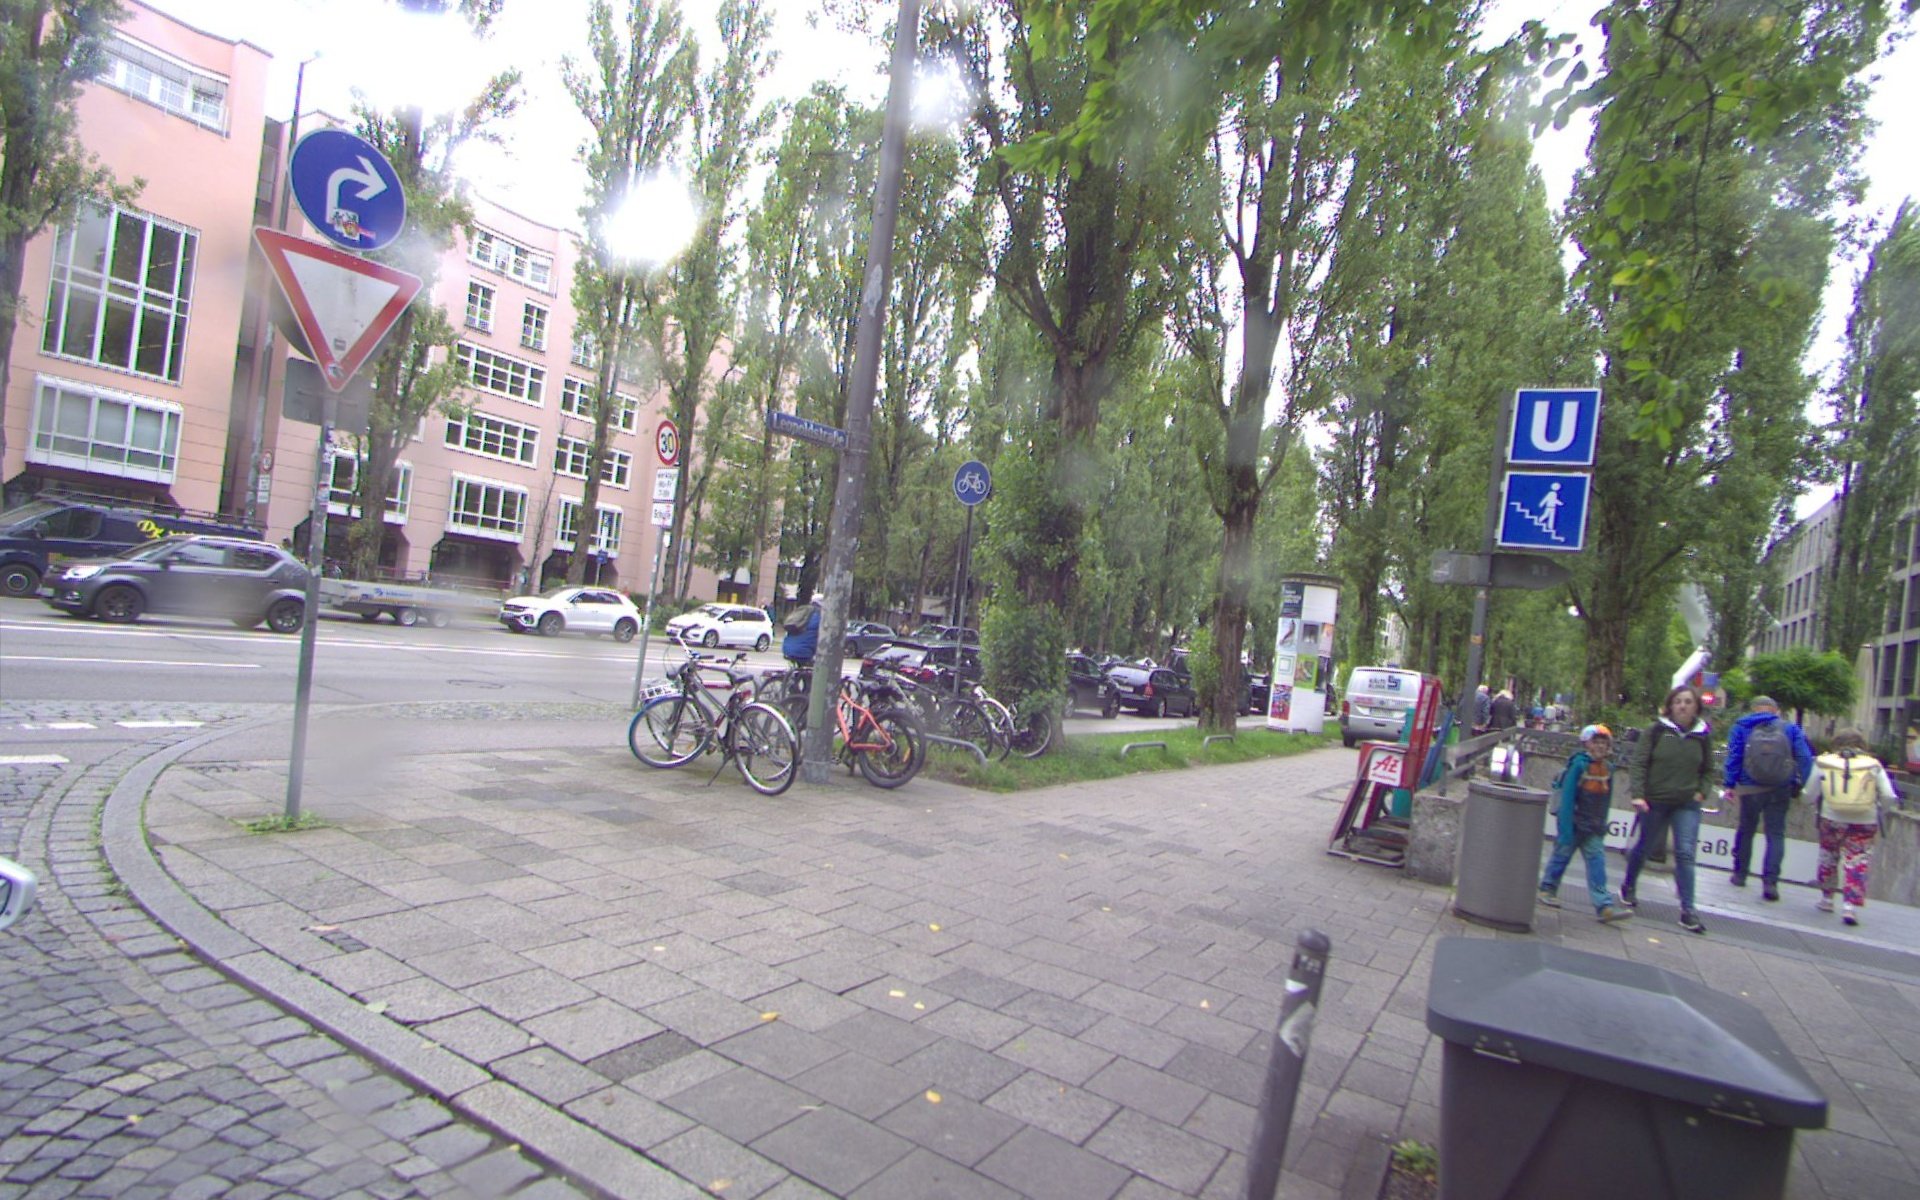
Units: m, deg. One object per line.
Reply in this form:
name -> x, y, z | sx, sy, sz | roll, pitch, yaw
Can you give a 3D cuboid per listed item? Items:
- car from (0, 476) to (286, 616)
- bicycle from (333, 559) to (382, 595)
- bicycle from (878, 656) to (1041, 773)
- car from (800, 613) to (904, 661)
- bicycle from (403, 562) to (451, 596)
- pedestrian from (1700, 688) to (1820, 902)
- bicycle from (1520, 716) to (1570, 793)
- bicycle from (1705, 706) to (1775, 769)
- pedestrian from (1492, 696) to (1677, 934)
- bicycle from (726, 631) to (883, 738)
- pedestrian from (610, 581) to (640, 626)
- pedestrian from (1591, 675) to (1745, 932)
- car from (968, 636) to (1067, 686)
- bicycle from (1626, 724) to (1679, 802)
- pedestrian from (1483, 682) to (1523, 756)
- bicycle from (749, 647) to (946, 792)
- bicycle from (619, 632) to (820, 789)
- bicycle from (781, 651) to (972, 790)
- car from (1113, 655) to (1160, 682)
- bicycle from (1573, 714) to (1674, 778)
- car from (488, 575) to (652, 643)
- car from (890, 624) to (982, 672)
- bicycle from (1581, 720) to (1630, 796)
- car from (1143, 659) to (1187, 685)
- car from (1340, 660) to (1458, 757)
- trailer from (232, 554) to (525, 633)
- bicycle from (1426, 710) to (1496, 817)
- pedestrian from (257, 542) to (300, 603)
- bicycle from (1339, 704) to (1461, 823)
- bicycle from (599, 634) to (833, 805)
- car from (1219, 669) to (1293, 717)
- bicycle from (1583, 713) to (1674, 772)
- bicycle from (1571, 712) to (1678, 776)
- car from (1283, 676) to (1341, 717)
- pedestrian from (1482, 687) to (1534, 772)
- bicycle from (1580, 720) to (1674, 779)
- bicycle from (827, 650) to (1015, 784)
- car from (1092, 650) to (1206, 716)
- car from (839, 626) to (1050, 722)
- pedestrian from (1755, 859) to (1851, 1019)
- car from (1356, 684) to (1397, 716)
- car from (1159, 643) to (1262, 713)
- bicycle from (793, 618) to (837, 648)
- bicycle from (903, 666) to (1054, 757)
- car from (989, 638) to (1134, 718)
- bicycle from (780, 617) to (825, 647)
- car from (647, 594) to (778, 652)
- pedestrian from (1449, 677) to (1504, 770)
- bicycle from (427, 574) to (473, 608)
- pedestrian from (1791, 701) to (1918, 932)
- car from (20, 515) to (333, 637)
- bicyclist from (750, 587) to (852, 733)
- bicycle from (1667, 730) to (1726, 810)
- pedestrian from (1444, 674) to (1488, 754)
car -> -17.566, -1.083, 20.833 | 1.990, 2.223, 5.488 | 7, -2, 32
bicycle -> -22.675, -0.856, 37.834 | 1.956, 1.138, 0.675 | 6, -1, 33
bicycle -> -0.034, 1.264, 11.353 | 1.806, 1.050, 0.512 | 5, -1, 37
car -> -4.484, 1.585, 42.267 | 1.967, 1.560, 4.317 | 6, -2, 33
bicycle -> -21.253, -0.835, 40.095 | 2.072, 1.138, 0.675 | 6, -1, 33
pedestrian -> 7.145, 1.700, 8.978 | 0.655, 1.716, 0.802 | 7, -1, 41
bicycle -> 10.143, 2.633, 17.415 | 0.578, 1.173, 1.981 | 7, -2, 33
bicycle -> 17.697, 3.154, 22.875 | 0.577, 1.168, 1.880 | 7, -11, 17
pedestrian -> 4.394, 1.463, 7.081 | 0.766, 1.436, 0.808 | 7, 0, -43
bicycle -> -1.839, 1.057, 12.211 | 0.708, 1.160, 1.897 | 3, -5, 33
pedestrian -> -13.767, 0.161, 41.327 | 0.698, 1.734, 0.730 | 7, -1, 33
pedestrian -> 5.260, 1.474, 7.476 | 0.686, 1.721, 0.656 | 7, 0, -43
car -> 2.498, 2.604, 42.118 | 1.967, 1.769, 5.057 | 4, -3, 30
bicycle -> 11.956, 2.787, 17.407 | 0.578, 1.173, 1.866 | 7, -2, 33
pedestrian -> 14.817, 3.238, 27.447 | 0.687, 1.888, 0.716 | 7, -1, 37
bicycle -> -1.069, 1.066, 9.293 | 1.846, 1.063, 0.475 | 5, -1, 34
bicycle -> -2.139, 0.928, 8.810 | 1.846, 1.063, 0.475 | 7, 0, 34
bicycle -> -0.837, 1.129, 9.718 | 1.846, 1.063, 0.475 | 5, -1, 34
car -> 12.150, 4.735, 69.079 | 1.738, 1.598, 3.964 | 7, 0, 32
bicycle -> 15.441, 3.377, 23.445 | 1.839, 1.173, 0.586 | 6, -1, 34
car -> -11.558, 0.303, 30.080 | 1.778, 1.560, 4.225 | 5, -2, 34
car -> -1.081, 2.328, 48.103 | 1.967, 1.818, 4.755 | 7, -2, 31
bicycle -> 11.317, 2.743, 17.665 | 0.578, 1.173, 1.866 | 7, -2, 33
car -> 15.095, 5.326, 73.999 | 1.738, 1.597, 3.966 | 7, -2, 32
car -> 10.870, 2.636, 24.678 | 1.785, 1.918, 5.195 | 7, -2, 32
trailer -> -14.639, -0.096, 25.800 | 2.365, 1.213, 6.027 | 6, -2, 33
bicycle -> 6.499, 2.076, 13.114 | 0.577, 1.173, 1.869 | 7, -2, 23
pedestrian -> -20.940, -0.849, 30.907 | 0.698, 1.734, 0.730 | 7, -1, 33
bicycle -> 5.056, 1.847, 11.488 | 0.580, 1.173, 1.860 | 6, -2, 43
bicycle -> -1.973, 0.914, 8.033 | 1.843, 1.063, 0.475 | 6, -1, 27
car -> 11.613, 3.650, 39.276 | 1.719, 1.544, 3.947 | 8, -1, 30
bicycle -> 17.208, 3.652, 25.929 | 1.839, 1.173, 0.586 | 7, -1, 34
bicycle -> 15.775, 3.402, 23.937 | 1.999, 1.173, 0.586 | 6, -1, 34
car -> 16.692, 4.583, 47.633 | 1.719, 1.610, 3.947 | 8, -1, 30
pedestrian -> 11.440, 2.691, 20.979 | 0.687, 1.625, 0.831 | 7, -1, 37
bicycle -> 16.840, 3.759, 25.438 | 1.839, 1.173, 0.586 | 6, -1, 34
bicycle -> -0.434, 1.190, 10.555 | 1.899, 1.118, 0.512 | 6, -1, 32
car -> 5.565, 2.443, 29.230 | 1.719, 1.544, 4.229 | 8, -1, 31
car -> -0.163, 1.510, 19.789 | 1.729, 1.444, 4.438 | 8, -1, 35
pedestrian -> 10.826, 4.324, 12.946 | 0.701, 1.745, 0.669 | 7, -1, 32
car -> 26.150, 6.291, 63.104 | 1.719, 1.662, 3.947 | 8, -1, 30
car -> 8.609, 2.717, 34.263 | 1.884, 1.947, 5.034 | 8, -1, 30
bicycle -> -6.727, 1.549, 46.763 | 1.956, 1.138, 0.675 | 6, -1, 33
bicycle -> 0.199, 1.314, 12.045 | 1.806, 0.827, 0.470 | 5, -1, 37
car -> 2.521, 1.914, 24.183 | 1.720, 1.544, 3.901 | 8, -1, 33
bicycle -> -7.231, 1.457, 46.110 | 1.956, 1.138, 0.675 | 6, -1, 33
car -> -8.640, 0.841, 35.533 | 1.966, 1.560, 4.320 | 7, -2, 29
pedestrian -> 10.922, 2.599, 21.273 | 0.739, 1.824, 0.840 | 7, -1, 37
bicycle -> -20.689, -0.365, 40.778 | 1.956, 1.138, 0.675 | 6, -1, 33
pedestrian -> 7.303, 1.724, 8.239 | 0.602, 1.700, 0.842 | 7, -1, 41
car -> -13.261, -0.344, 17.250 | 1.819, 1.544, 3.746 | 5, -2, 32
bicyclist -> -1.925, 0.727, 12.192 | 0.713, 1.638, 0.755 | 7, -1, 33
bicycle -> 12.469, 2.843, 17.067 | 0.578, 1.173, 1.866 | 7, -2, 33
pedestrian -> 12.518, 2.806, 24.892 | 0.689, 1.862, 0.705 | 7, 0, 35
